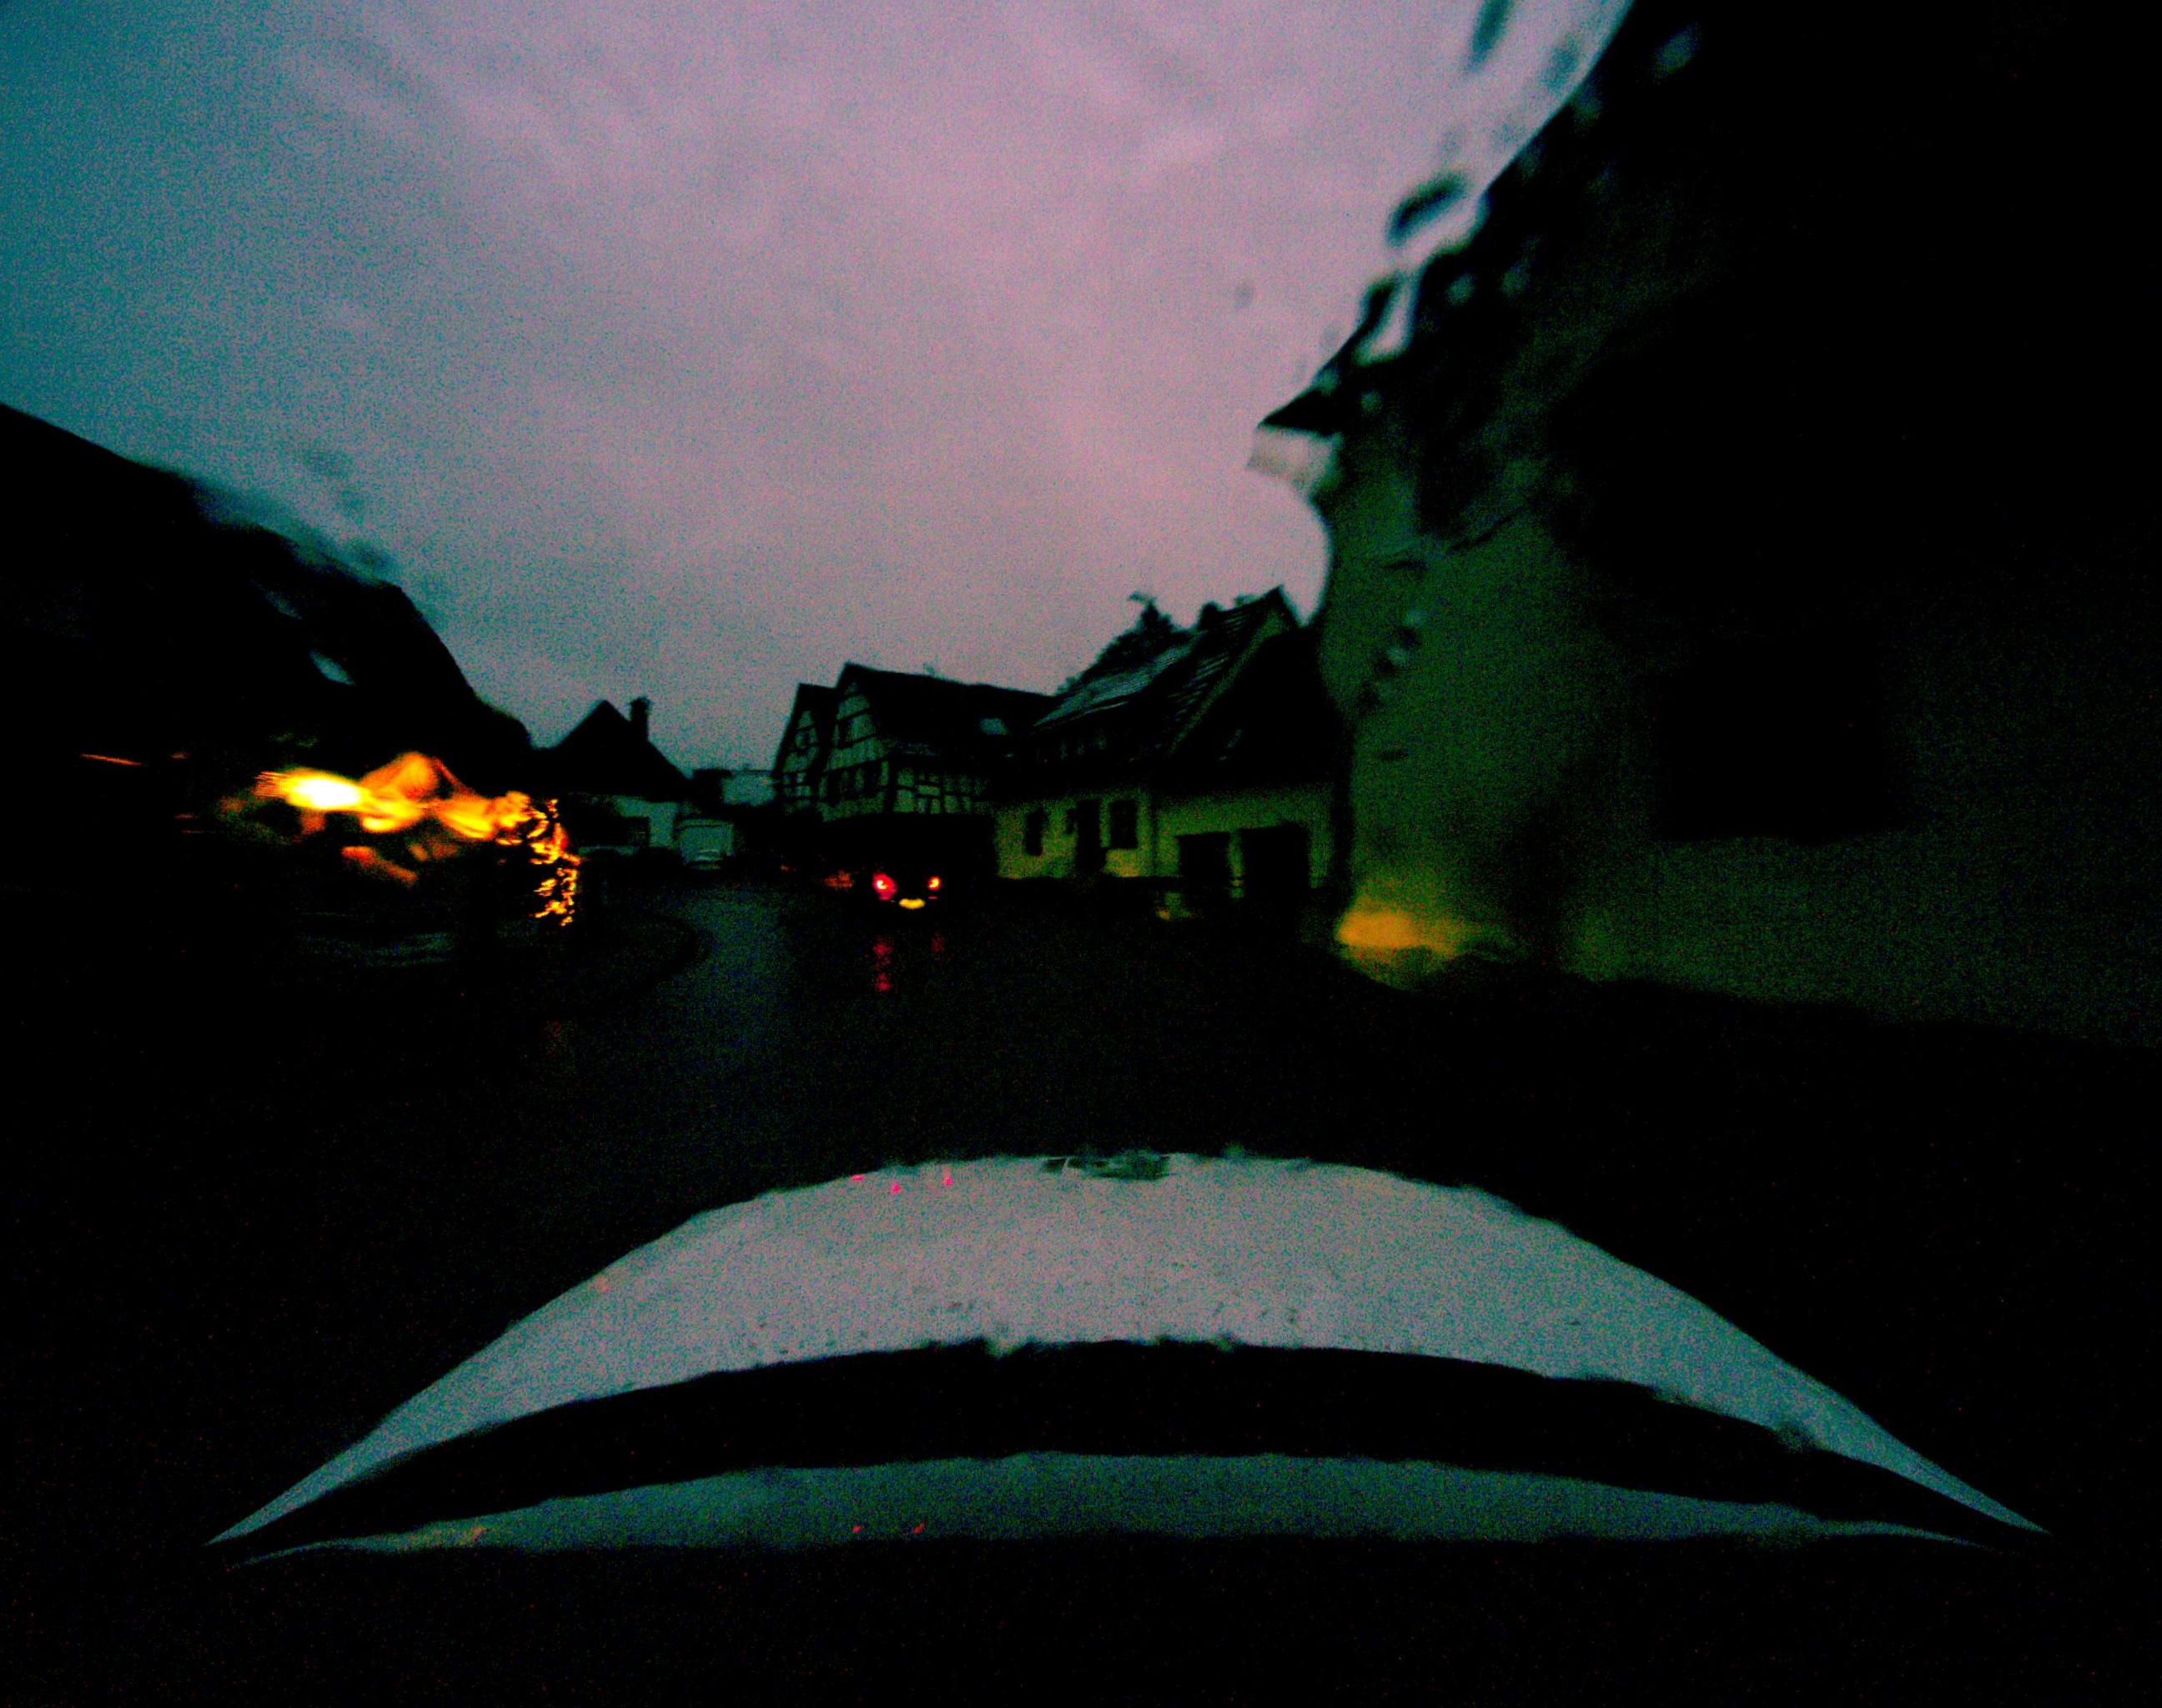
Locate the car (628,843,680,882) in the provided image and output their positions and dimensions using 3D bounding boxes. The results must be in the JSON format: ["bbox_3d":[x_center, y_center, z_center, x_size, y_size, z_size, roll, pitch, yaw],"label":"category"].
[{"bbox_3d":[-22.777,0.405,43.576,1.857,1.660,4.447,-3,5,-21],"label":"car"}]

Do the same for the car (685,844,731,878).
[{"bbox_3d":[-19.732,0.308,43.269,1.815,1.420,4.013,-3,5,-20],"label":"car"}]

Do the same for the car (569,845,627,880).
[{"bbox_3d":[-25.462,0.414,43.074,1.889,1.449,3.869,-3,5,-20],"label":"car"}]

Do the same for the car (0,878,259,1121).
[{"bbox_3d":[-7.237,0.867,4.400,1.612,1.421,3.805,0,-1,2],"label":"car"}]

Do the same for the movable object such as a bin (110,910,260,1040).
[{"bbox_3d":[-8.554,1.131,7.808,0.608,1.102,0.729,-2,0,-6],"label":"movable object such as a bin"}]

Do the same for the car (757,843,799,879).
[{"bbox_3d":[-16.112,0.326,43.200,1.601,1.515,3.951,-3,5,-26],"label":"car"}]

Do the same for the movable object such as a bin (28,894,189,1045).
[{"bbox_3d":[-9.192,1.060,7.728,0.608,1.297,0.729,-2,0,-6],"label":"movable object such as a bin"}]

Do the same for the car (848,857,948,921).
[{"bbox_3d":[-4.726,0.820,20.697,1.555,1.466,3.664,0,0,-28],"label":"car"}]
